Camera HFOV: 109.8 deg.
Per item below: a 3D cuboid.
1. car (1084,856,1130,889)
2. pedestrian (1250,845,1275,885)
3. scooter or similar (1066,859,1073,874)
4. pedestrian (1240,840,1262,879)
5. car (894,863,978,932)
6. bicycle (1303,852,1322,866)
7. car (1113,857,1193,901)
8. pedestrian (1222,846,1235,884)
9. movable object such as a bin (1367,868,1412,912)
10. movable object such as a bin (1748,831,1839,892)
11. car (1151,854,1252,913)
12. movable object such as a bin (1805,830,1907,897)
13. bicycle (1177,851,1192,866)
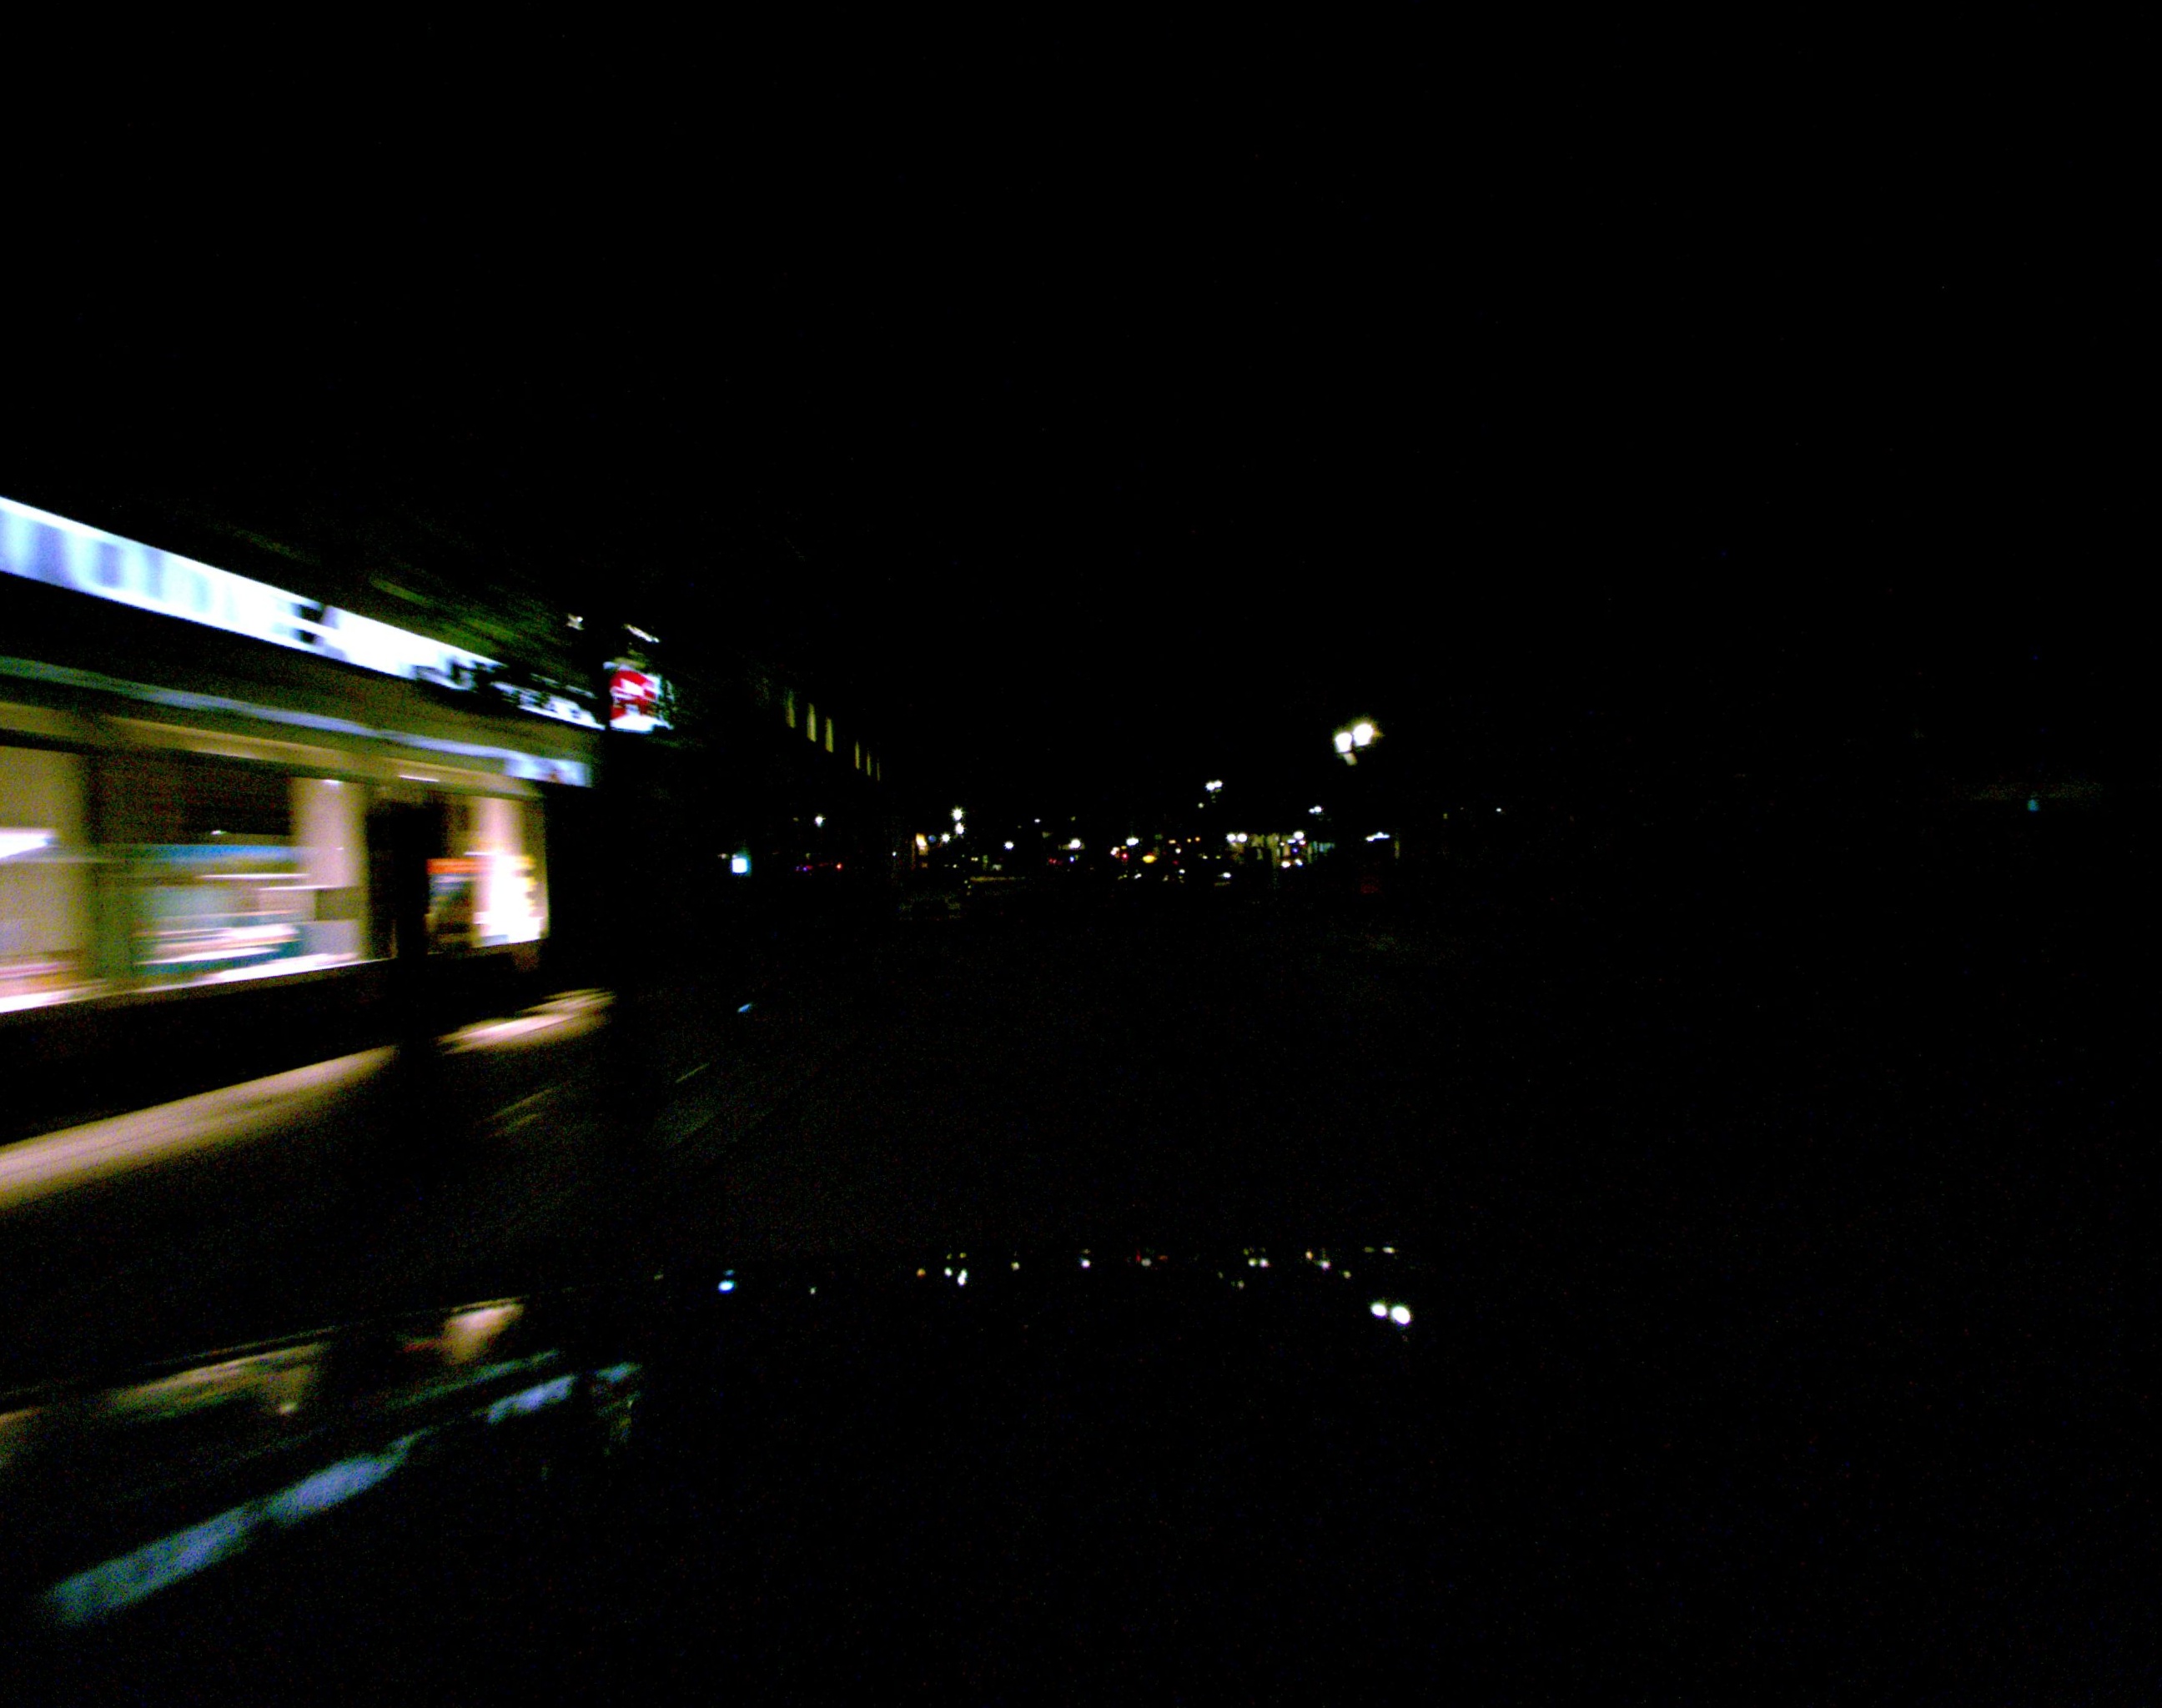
[{"bbox_3d":[1.363,0.950,41.257,1.776,1.565,4.480,-3,1,-6],"label":"car"},{"bbox_3d":[8.542,0.499,35.751,0.792,1.807,1.025,-3,1,29],"label":"pedestrian"},{"bbox_3d":[-1.011,1.065,65.877,0.370,1.256,1.448,-3,-1,-7],"label":"scooter or similar"},{"bbox_3d":[8.111,0.262,36.255,0.879,1.821,0.791,-3,1,18],"label":"pedestrian"},{"bbox_3d":[-3.777,1.063,20.499,1.747,1.479,4.633,-2,1,-5],"label":"car"},{"bbox_3d":[23.085,0.473,75.763,0.775,1.356,2.508,-2,1,-9],"label":"bicycle"},{"bbox_3d":[2.758,0.941,30.397,1.911,1.533,4.778,-3,0,-10],"label":"car"},{"bbox_3d":[7.066,0.532,36.369,0.502,1.811,0.503,-2,2,7],"label":"pedestrian"},{"bbox_3d":[7.788,0.897,19.220,0.749,1.059,0.792,-2,1,-8],"label":"movable object such as a bin"},{"bbox_3d":[18.016,0.173,19.249,1.039,1.436,1.285,-3,1,-6],"label":"movable object such as a bin"},{"bbox_3d":[3.739,0.870,24.462,1.764,1.627,4.811,-2,0,-9],"label":"car"},{"bbox_3d":[18.145,0.200,17.824,1.134,1.449,1.227,-3,1,-6],"label":"movable object such as a bin"},{"bbox_3d":[10.046,0.410,73.909,0.765,1.356,2.411,-2,1,-9],"label":"bicycle"}]
